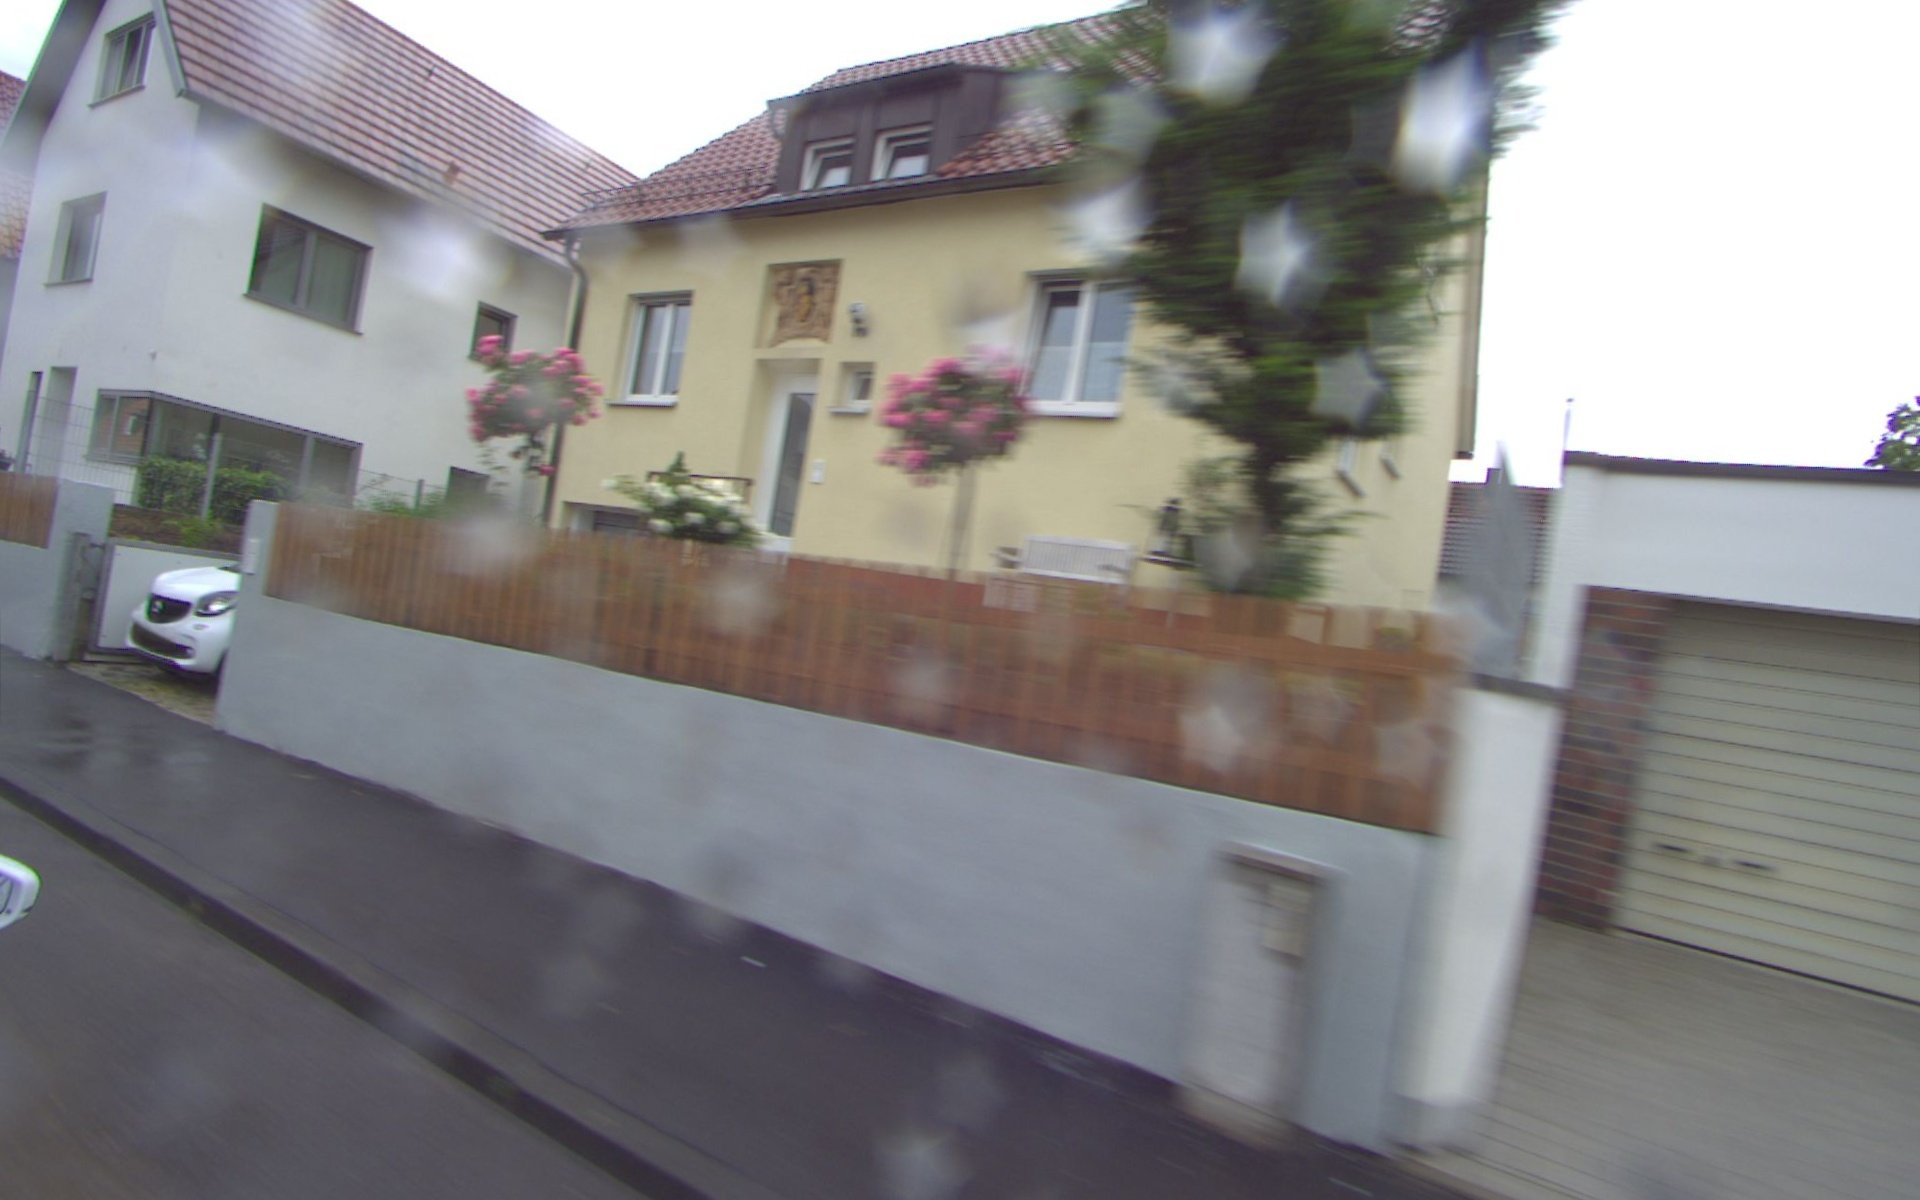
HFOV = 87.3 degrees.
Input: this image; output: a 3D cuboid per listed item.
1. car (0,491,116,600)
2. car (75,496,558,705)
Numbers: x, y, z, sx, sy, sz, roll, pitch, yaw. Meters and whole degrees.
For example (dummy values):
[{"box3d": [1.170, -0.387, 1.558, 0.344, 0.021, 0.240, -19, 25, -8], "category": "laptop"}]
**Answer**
[{"box3d": [-16.906, -1.124, 17.149, 1.489, 1.579, 3.385, 10, -3, 31], "category": "car"}, {"box3d": [-6.105, 0.110, 9.936, 1.710, 1.539, 3.501, 8, -1, 31], "category": "car"}]
